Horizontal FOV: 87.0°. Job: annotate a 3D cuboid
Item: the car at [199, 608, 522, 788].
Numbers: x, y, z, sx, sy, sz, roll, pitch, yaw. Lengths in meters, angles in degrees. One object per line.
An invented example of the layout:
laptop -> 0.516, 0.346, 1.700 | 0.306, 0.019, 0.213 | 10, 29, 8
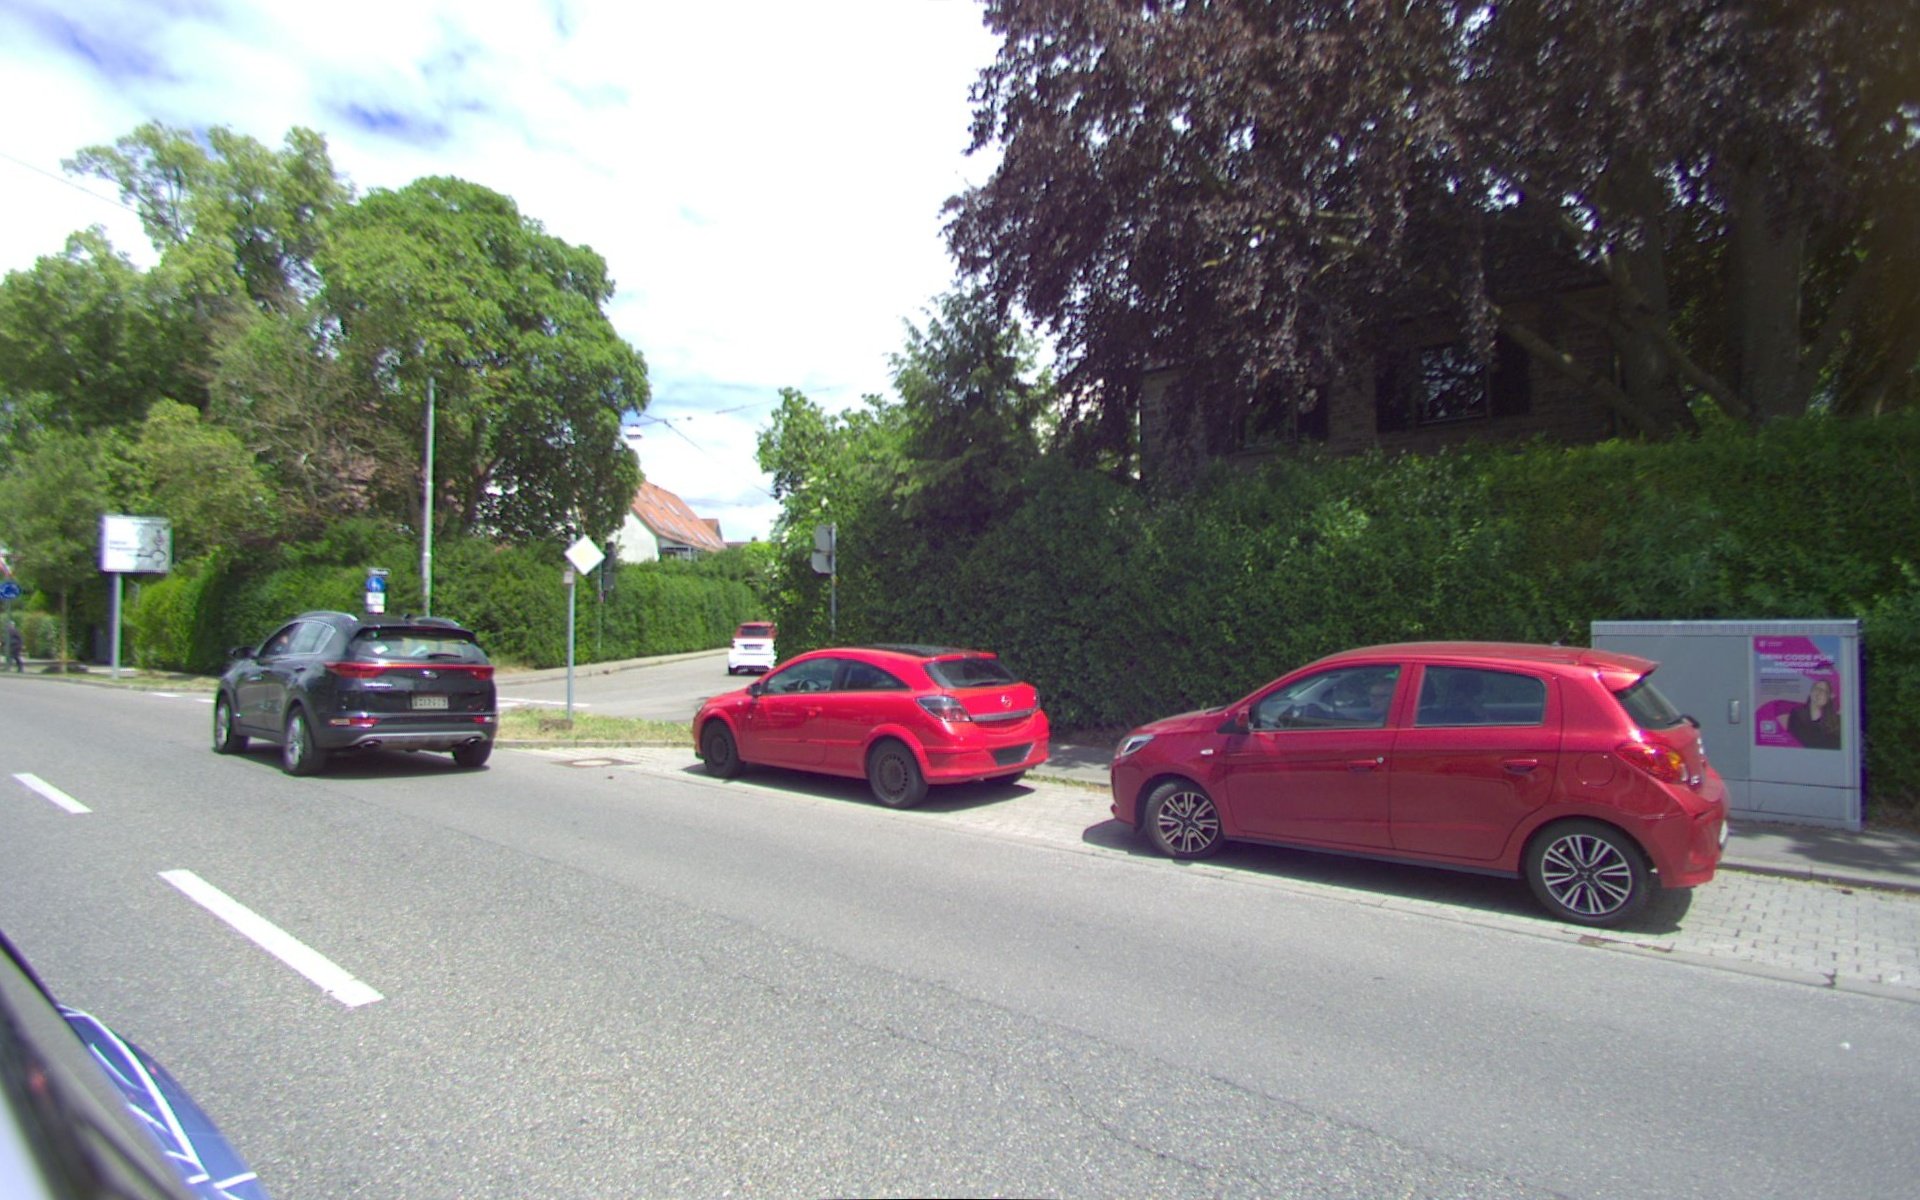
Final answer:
car -> -6.759, 0.993, 11.232 | 4.150, 1.629, 1.814 | -1, -6, 42

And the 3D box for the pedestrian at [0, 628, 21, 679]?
pedestrian -> -32.283, 1.788, 34.165 | 0.694, 1.704, 0.736 | -1, -2, 41

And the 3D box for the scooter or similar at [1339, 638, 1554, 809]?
scooter or similar -> 4.454, 1.070, 9.341 | 1.649, 1.423, 0.663 | -2, -2, 43

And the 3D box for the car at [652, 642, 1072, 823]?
car -> -1.194, 1.167, 10.361 | 4.564, 1.388, 1.643 | -1, -2, 42

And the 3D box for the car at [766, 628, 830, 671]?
car -> -5.969, 1.793, 37.555 | 1.692, 1.466, 3.532 | 0, -1, 2

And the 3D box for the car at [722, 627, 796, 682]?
car -> -6.009, 1.610, 30.523 | 1.569, 1.567, 2.775 | 0, -1, 3

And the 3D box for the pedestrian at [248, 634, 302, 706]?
pedestrian -> -14.939, 1.512, 22.082 | 0.619, 1.520, 0.730 | 0, -2, 4

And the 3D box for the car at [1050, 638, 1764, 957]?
car -> 2.745, 1.015, 6.812 | 4.103, 1.461, 1.632 | -1, -2, 41
